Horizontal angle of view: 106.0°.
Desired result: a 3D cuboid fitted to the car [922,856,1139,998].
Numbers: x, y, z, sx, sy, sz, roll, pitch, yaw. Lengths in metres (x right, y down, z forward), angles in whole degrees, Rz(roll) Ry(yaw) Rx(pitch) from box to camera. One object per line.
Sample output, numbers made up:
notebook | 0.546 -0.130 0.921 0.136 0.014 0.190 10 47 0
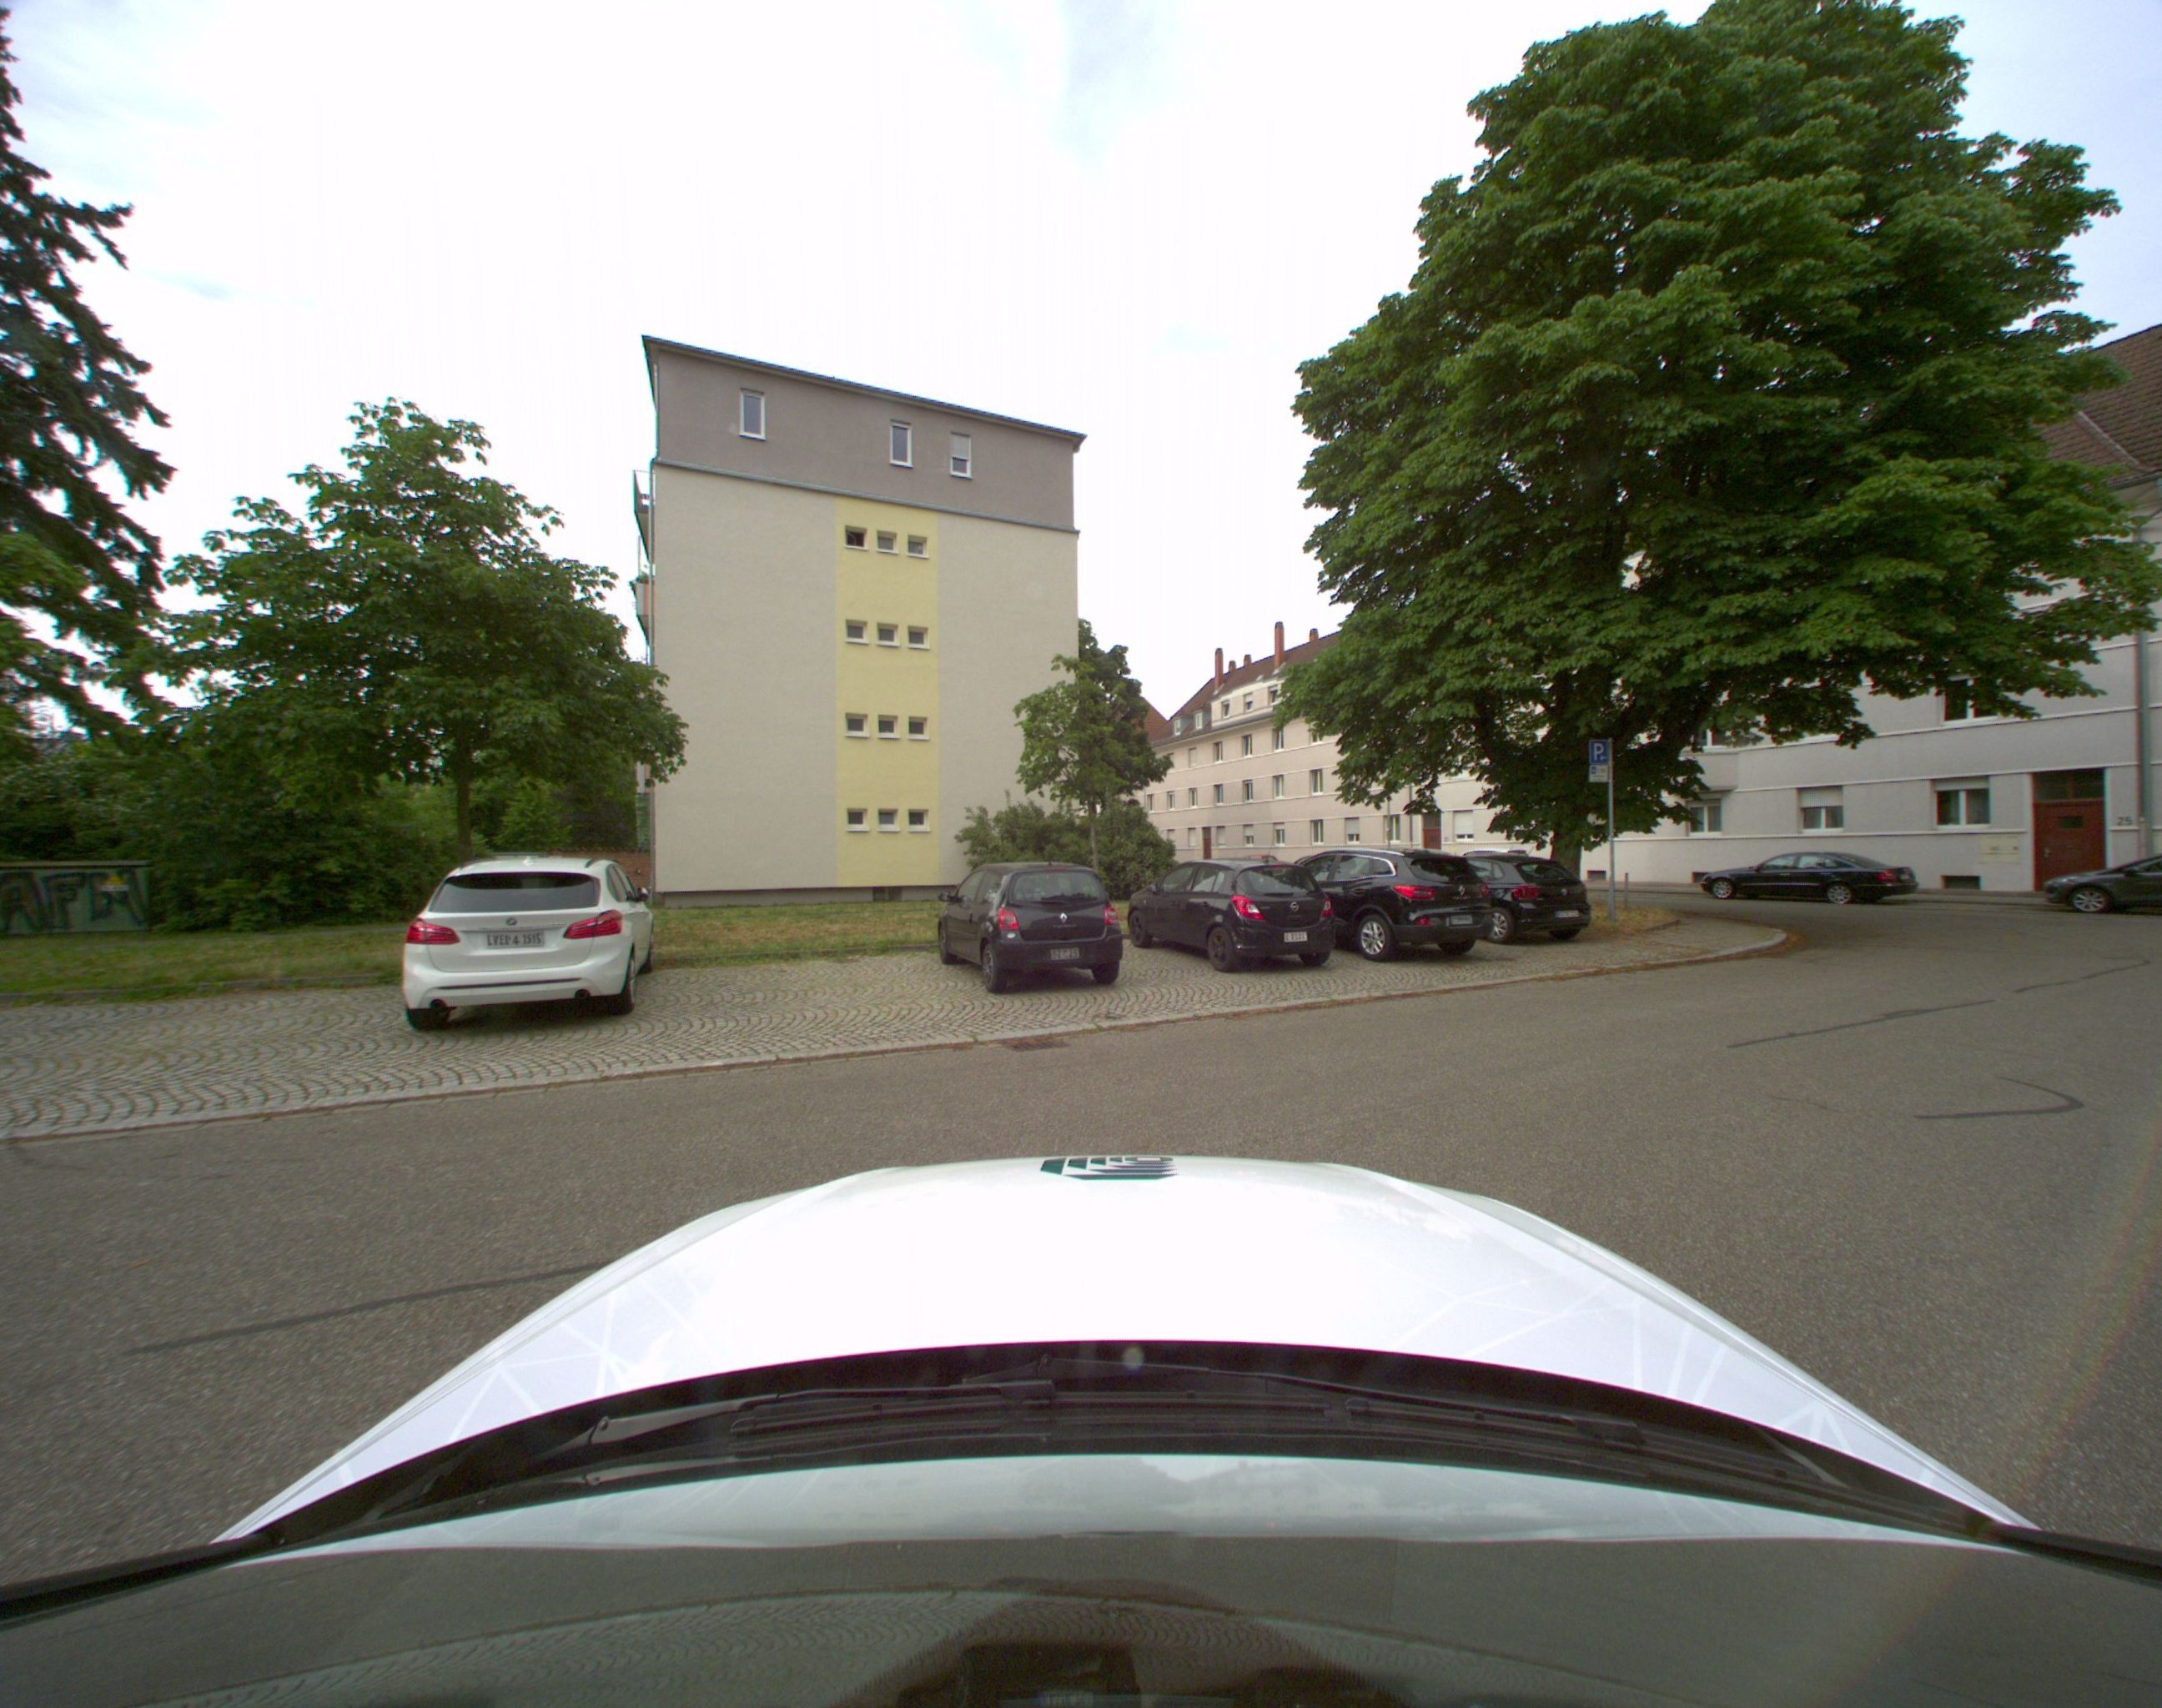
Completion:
car | -0.941 0.803 11.332 1.841 1.463 4.530 0 1 -20

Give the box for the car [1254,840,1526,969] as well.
car | 4.652 0.631 12.963 1.916 1.697 4.042 0 1 -20

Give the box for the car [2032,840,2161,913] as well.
car | 23.846 0.479 17.548 1.765 1.525 4.046 -2 1 -25

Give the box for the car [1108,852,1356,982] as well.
car | 2.053 0.781 12.489 1.841 1.566 4.328 0 1 -20

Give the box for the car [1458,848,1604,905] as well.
car | 12.906 0.629 23.587 1.530 1.494 3.567 2 -1 -20

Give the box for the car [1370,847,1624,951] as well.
car | 7.256 0.702 14.649 1.831 1.577 3.815 -1 0 -21

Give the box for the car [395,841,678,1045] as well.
car | -5.697 0.732 9.097 1.887 1.560 4.118 1 3 -23

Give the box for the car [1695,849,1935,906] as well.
car | 21.043 0.598 23.650 1.753 1.420 4.909 -2 1 -25

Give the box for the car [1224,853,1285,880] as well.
car | 10.410 0.723 49.165 1.704 1.525 3.796 -2 0 -23

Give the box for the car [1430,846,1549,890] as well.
car | 17.123 0.567 34.378 1.852 1.673 4.254 -2 1 -25

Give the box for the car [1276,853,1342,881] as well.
car | 12.427 0.697 44.627 1.573 1.473 3.670 -1 0 -21
